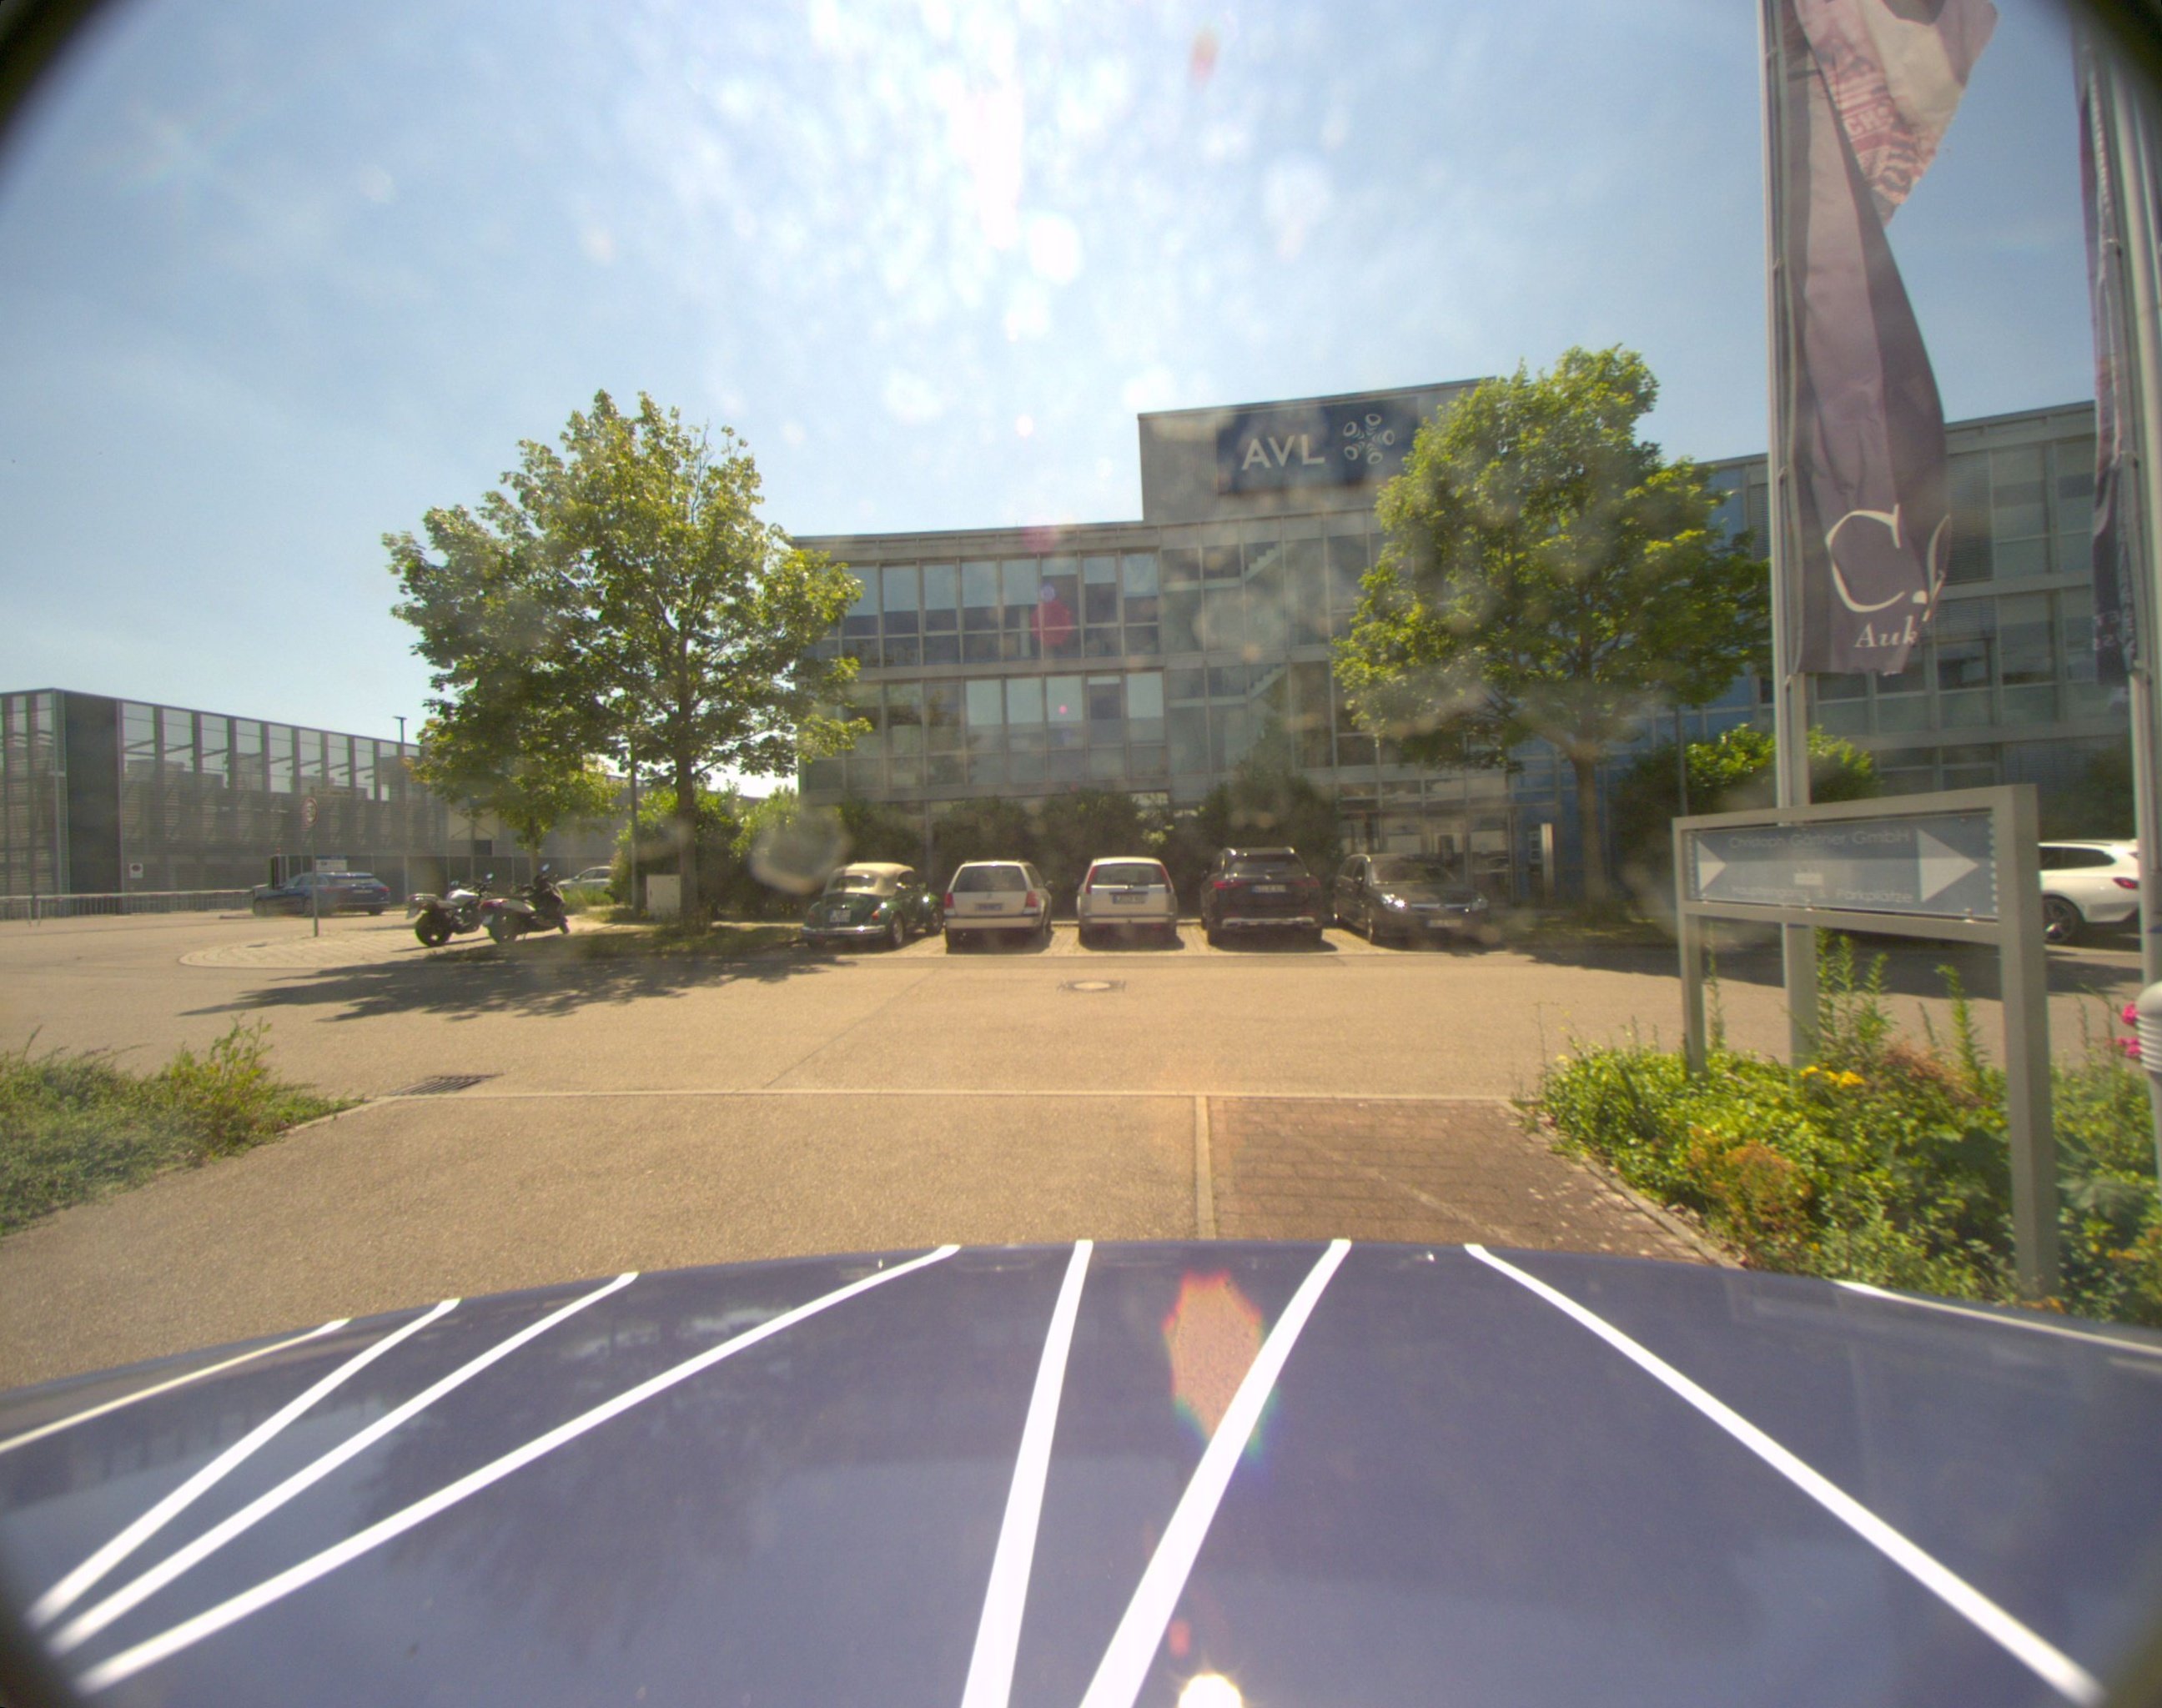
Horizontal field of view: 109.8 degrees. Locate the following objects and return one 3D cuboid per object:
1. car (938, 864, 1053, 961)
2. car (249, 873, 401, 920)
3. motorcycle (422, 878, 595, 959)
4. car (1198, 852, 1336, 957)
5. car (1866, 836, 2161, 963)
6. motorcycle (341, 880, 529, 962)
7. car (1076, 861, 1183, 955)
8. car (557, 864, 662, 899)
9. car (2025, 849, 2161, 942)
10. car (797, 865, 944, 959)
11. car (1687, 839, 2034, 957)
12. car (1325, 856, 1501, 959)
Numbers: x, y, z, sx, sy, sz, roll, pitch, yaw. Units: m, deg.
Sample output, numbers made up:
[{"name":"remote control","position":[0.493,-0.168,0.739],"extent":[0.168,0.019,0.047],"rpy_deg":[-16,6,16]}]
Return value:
[{"name":"car","position":[-1.431,0.955,13.917],"extent":[1.642,1.444,3.600],"rpy_deg":[0,1,1]},{"name":"car","position":[-25.076,1.397,25.209],"extent":[4.436,1.401,1.862],"rpy_deg":[-2,0,20]},{"name":"motorcycle","position":[-10.660,1.148,14.365],"extent":[0.873,1.252,2.836],"rpy_deg":[-1,1,6]},{"name":"car","position":[3.200,0.790,13.813],"extent":[1.937,1.593,3.861],"rpy_deg":[-1,1,6]},{"name":"car","position":[15.007,0.569,11.765],"extent":[1.831,1.628,4.174],"rpy_deg":[-1,0,9]},{"name":"motorcycle","position":[-12.004,1.186,14.318],"extent":[0.873,1.252,2.836],"rpy_deg":[-1,1,6]},{"name":"car","position":[0.814,0.904,14.269],"extent":[1.731,1.444,3.600],"rpy_deg":[-1,1,1]},{"name":"car","position":[-21.337,1.222,34.383],"extent":[4.404,1.467,1.783],"rpy_deg":[-1,0,23]},{"name":"car","position":[17.375,0.640,11.355],"extent":[1.750,1.392,4.174],"rpy_deg":[-1,0,9]},{"name":"car","position":[-3.724,0.972,14.017],"extent":[1.521,1.437,3.420],"rpy_deg":[0,1,4]},{"name":"car","position":[12.486,0.614,12.648],"extent":[1.831,1.628,4.173],"rpy_deg":[-1,0,7]},{"name":"car","position":[5.697,0.822,13.644],"extent":[1.729,1.475,4.399],"rpy_deg":[-2,0,8]}]
